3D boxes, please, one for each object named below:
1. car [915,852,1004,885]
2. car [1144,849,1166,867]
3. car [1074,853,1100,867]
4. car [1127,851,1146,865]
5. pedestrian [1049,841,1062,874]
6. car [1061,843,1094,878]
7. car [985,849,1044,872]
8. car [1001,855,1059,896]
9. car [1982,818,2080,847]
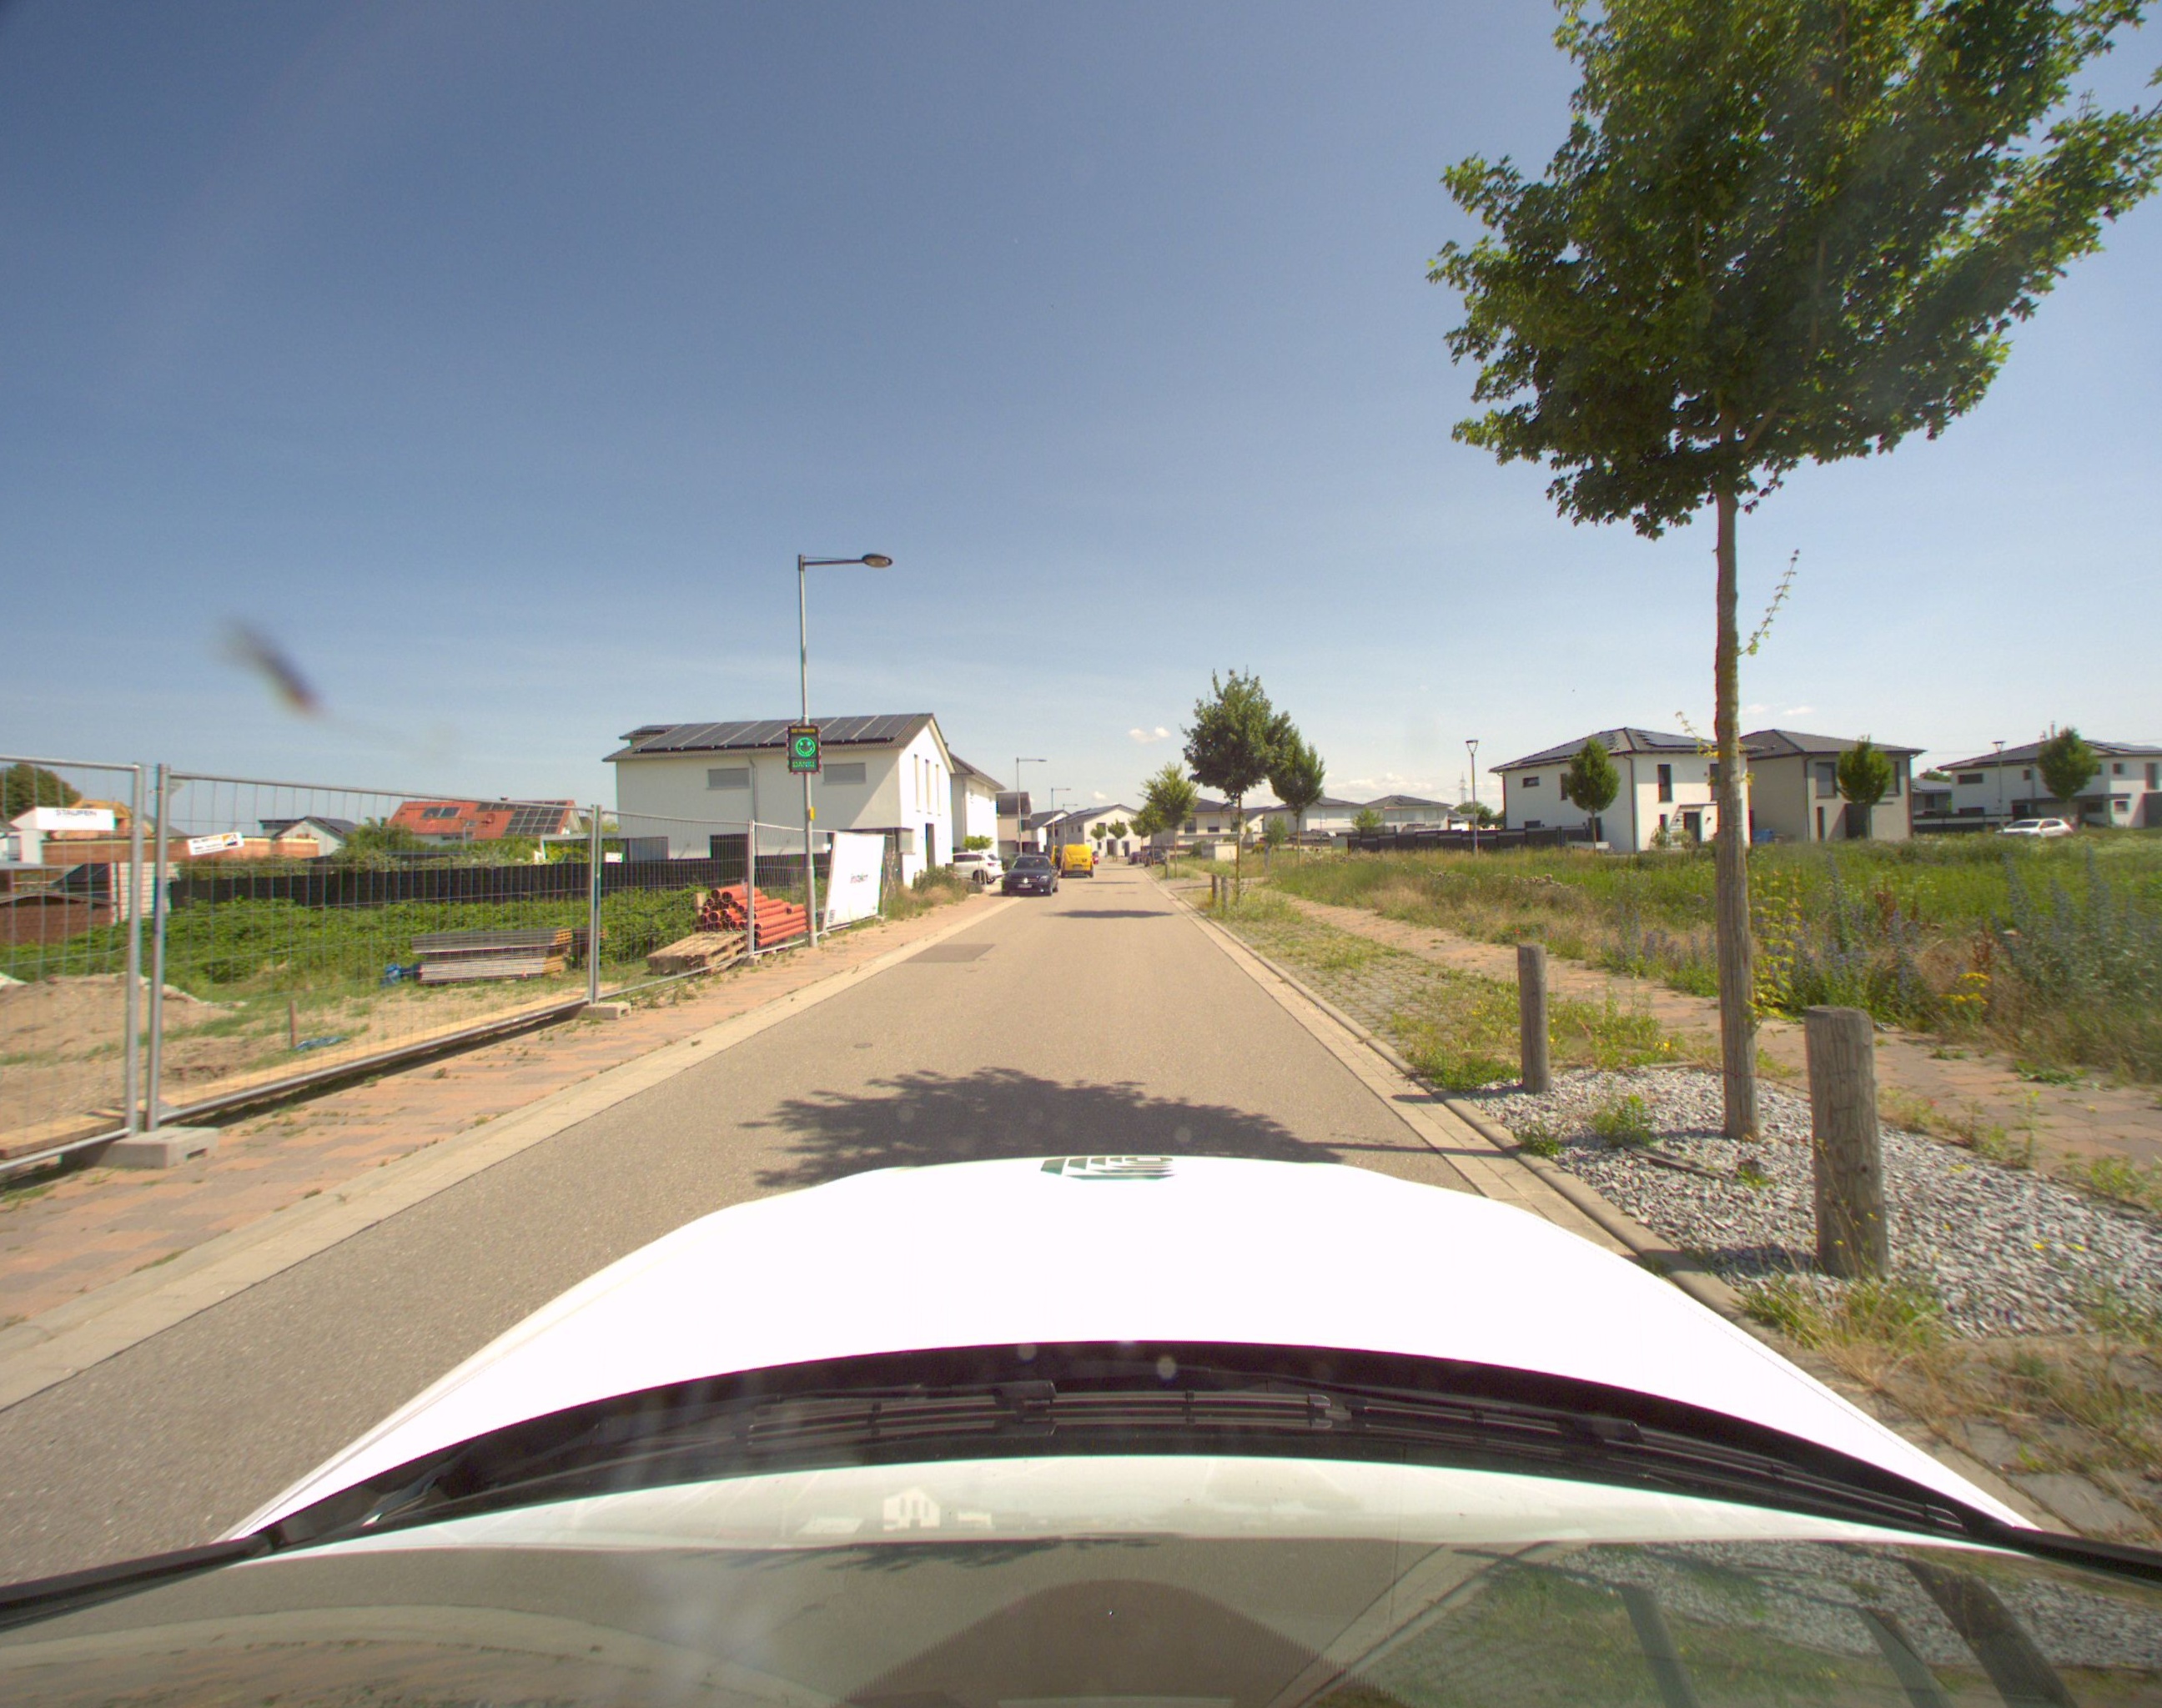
[{"bbox_3d":[-6.097,0.700,41.069,4.046,1.581,1.788,0,1,8],"label":"car"},{"bbox_3d":[6.347,0.362,70.368,1.633,1.403,3.812,-2,-1,2],"label":"car"},{"bbox_3d":[0.682,0.734,96.325,1.997,1.431,4.677,-2,-1,-15],"label":"car"},{"bbox_3d":[6.047,0.467,89.018,1.625,1.322,3.827,-2,-2,-4],"label":"car"},{"bbox_3d":[-1.604,0.224,51.577,0.649,2.014,1.124,-2,-1,2],"label":"pedestrian"},{"bbox_3d":[-0.254,0.420,50.511,1.936,1.981,4.214,-2,-1,-1],"label":"car"},{"bbox_3d":[-5.039,0.493,61.434,4.166,1.505,1.807,2,-1,-14],"label":"car"},{"bbox_3d":[-1.850,0.754,30.657,1.738,1.405,4.162,0,0,2],"label":"car"},{"bbox_3d":[51.708,-1.161,44.342,3.989,1.398,1.743,-2,-1,-12],"label":"car"}]
